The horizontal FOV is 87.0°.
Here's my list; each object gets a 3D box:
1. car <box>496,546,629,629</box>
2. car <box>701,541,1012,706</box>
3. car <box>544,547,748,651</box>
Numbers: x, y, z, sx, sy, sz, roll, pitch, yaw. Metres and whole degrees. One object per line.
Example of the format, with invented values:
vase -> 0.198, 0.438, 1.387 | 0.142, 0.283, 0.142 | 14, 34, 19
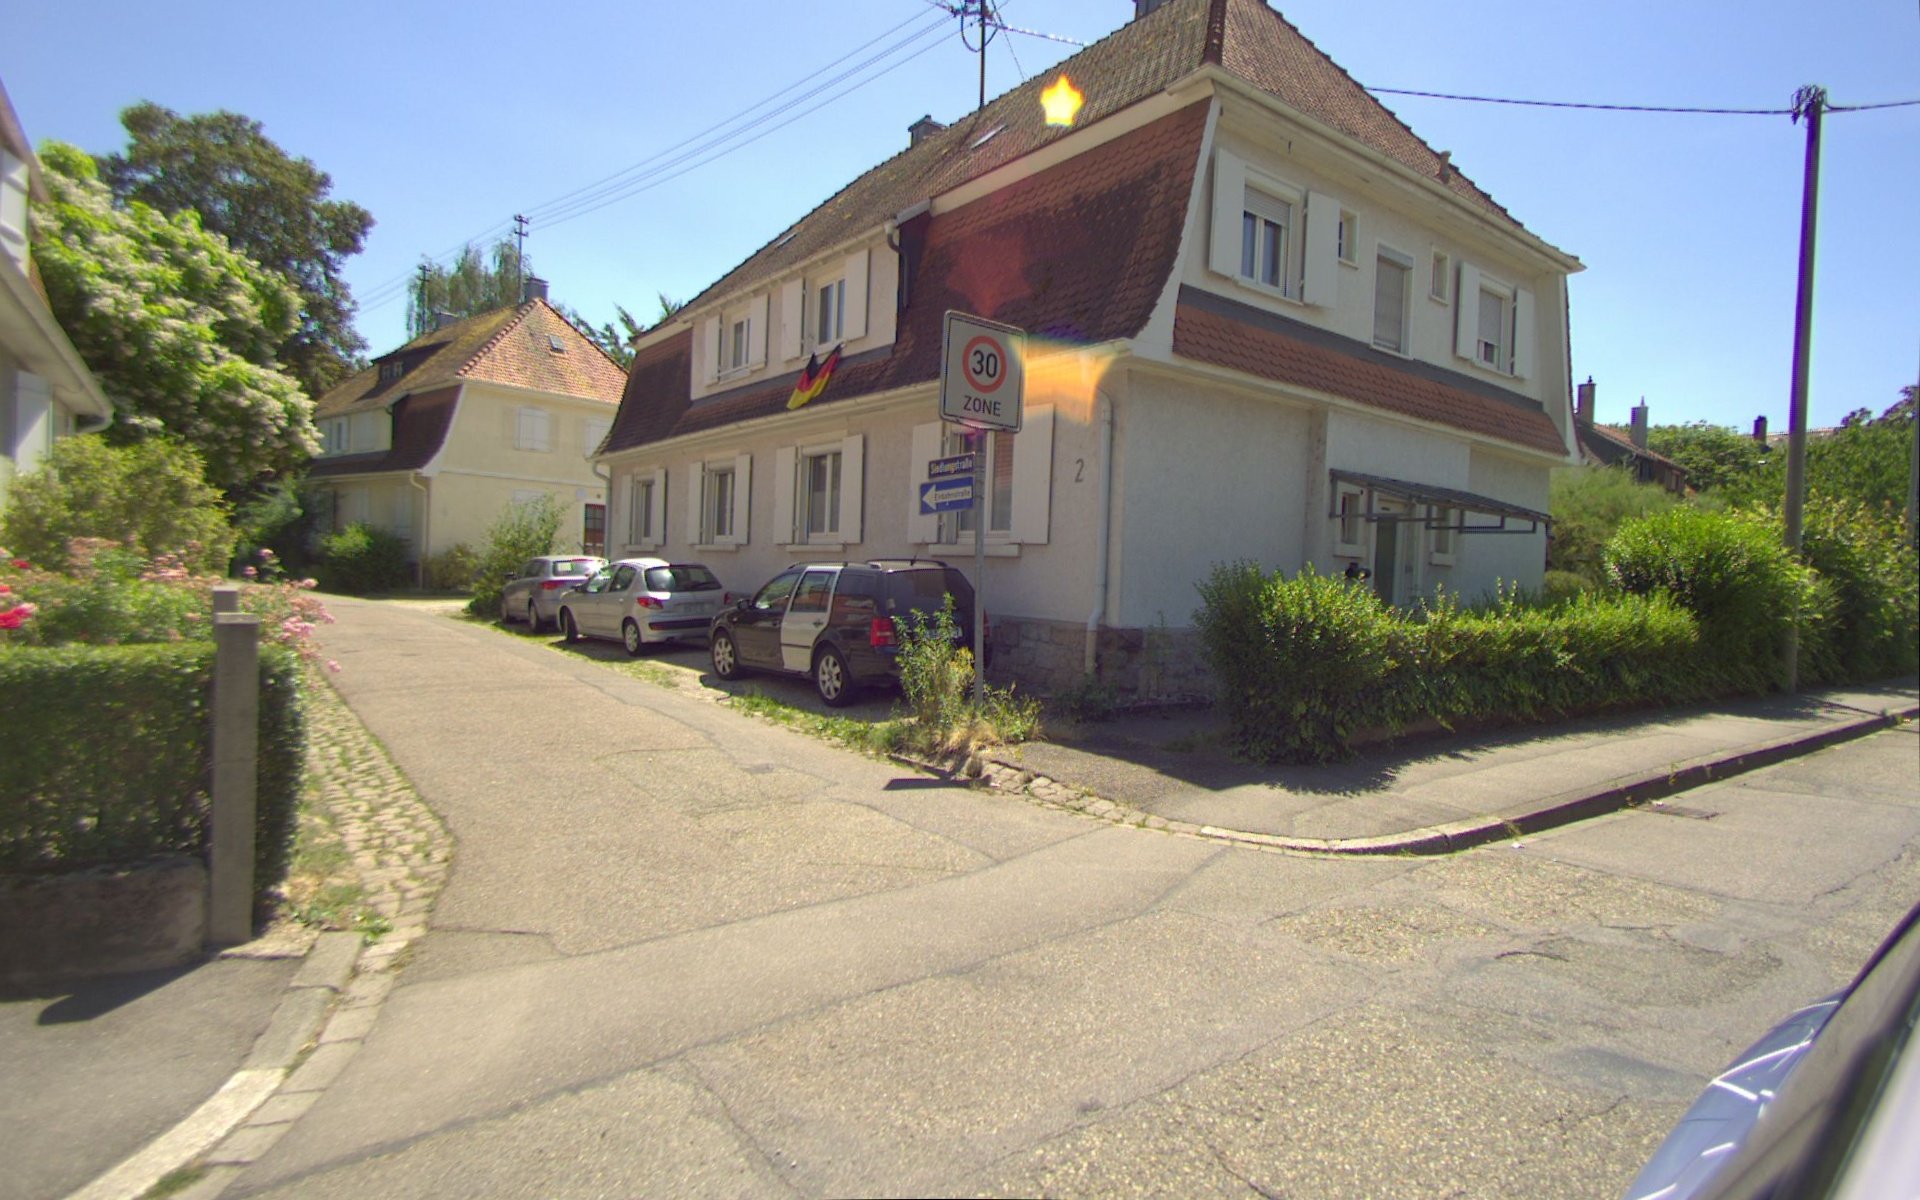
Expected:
car -> -7.969, -0.281, 20.106 | 1.661, 1.469, 3.753 | 0, 2, -35
car -> -1.349, 0.157, 11.648 | 1.662, 1.555, 4.006 | 0, 2, -39
car -> -5.186, -0.092, 16.450 | 1.665, 1.430, 3.745 | 0, 3, -44
